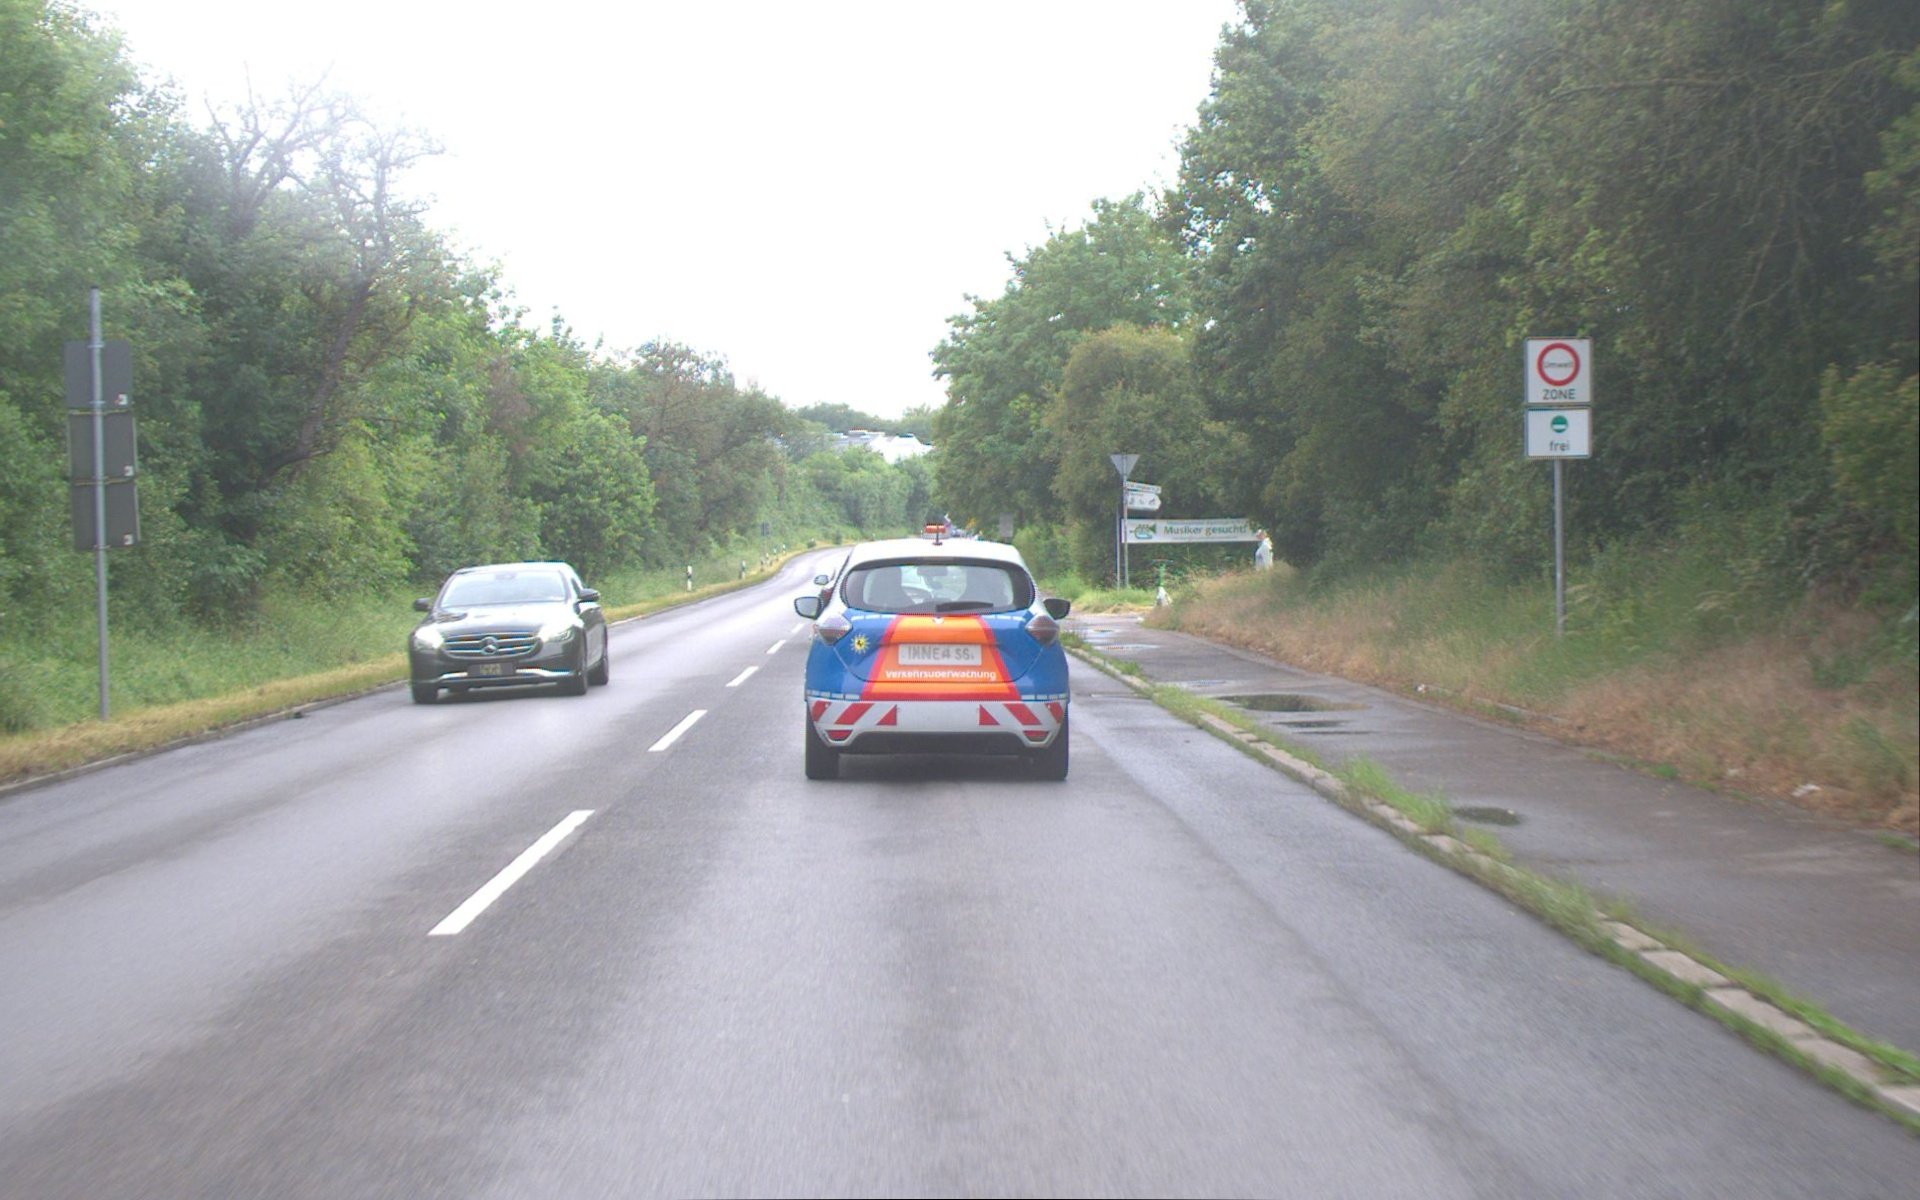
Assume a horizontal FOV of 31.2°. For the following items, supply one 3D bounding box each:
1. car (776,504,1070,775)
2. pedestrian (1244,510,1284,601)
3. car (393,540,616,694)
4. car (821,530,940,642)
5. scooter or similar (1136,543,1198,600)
[{"bbox_3d":[-0.278,0.222,23.395,1.806,1.662,3.856,1,1,-1],"label":"car"},{"bbox_3d":[6.190,-0.906,70.064,0.693,1.821,0.801,-2,1,-1],"label":"pedestrian"},{"bbox_3d":[-4.961,0.153,37.992,1.871,1.484,4.574,-4,1,-1],"label":"car"},{"bbox_3d":[-1.227,-0.231,51.872,1.694,1.590,3.856,1,1,-2],"label":"car"},{"bbox_3d":[4.425,-0.601,73.456,1.326,1.202,0.373,-1,1,40],"label":"scooter or similar"}]
